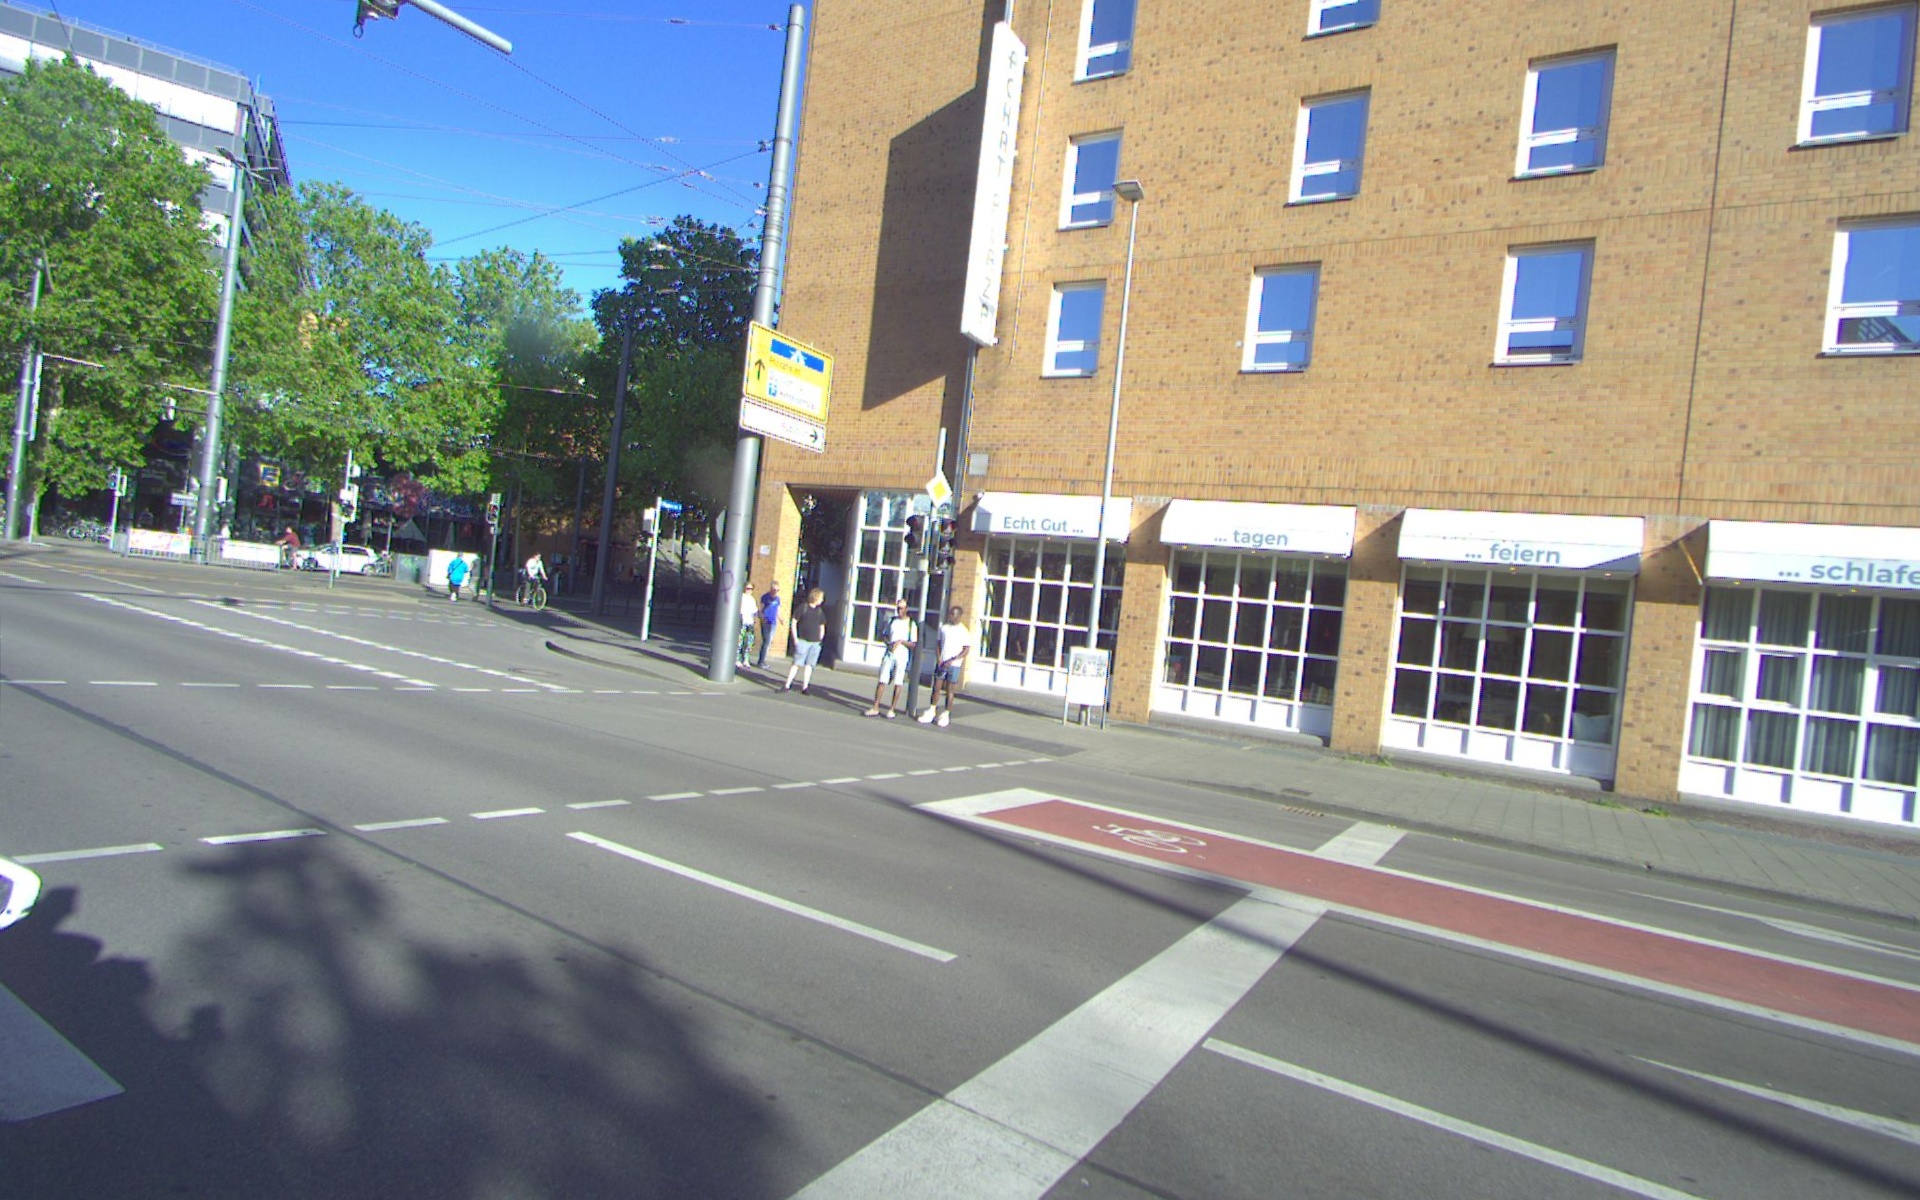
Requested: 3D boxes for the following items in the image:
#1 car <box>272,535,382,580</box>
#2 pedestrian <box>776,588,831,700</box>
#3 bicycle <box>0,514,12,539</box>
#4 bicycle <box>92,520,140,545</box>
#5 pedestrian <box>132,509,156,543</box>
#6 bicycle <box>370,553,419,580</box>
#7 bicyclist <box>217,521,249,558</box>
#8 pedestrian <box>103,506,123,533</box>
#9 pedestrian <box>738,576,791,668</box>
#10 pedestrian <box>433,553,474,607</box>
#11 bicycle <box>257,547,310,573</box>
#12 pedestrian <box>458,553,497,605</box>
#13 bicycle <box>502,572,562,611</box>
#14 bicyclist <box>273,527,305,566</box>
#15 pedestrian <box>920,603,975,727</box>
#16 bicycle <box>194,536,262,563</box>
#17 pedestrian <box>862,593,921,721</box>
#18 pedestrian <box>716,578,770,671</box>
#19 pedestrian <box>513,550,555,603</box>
[{"bbox_3d":[-30.844,-2.055,49.131,1.969,1.503,3.990,6,-3,36],"label":"car"},{"bbox_3d":[-2.641,0.731,16.940,0.683,1.789,0.573,7,0,-9],"label":"pedestrian"},{"bbox_3d":[-42.195,-3.287,43.386,0.509,1.034,1.849,6,-1,43],"label":"bicycle"},{"bbox_3d":[-41.091,-3.285,48.967,0.386,0.998,1.700,7,0,45],"label":"bicycle"},{"bbox_3d":[-48.400,-4.362,59.670,0.845,1.873,0.799,10,-3,-44],"label":"pedestrian"},{"bbox_3d":[-32.459,-1.908,57.819,0.861,1.250,2.934,7,-1,5],"label":"bicycle"},{"bbox_3d":[-41.896,-3.469,57.993,1.218,1.955,0.828,7,0,-31],"label":"bicyclist"},{"bbox_3d":[-51.868,-4.921,61.587,0.771,1.546,0.559,6,0,-34],"label":"pedestrian"},{"bbox_3d":[-3.925,0.441,20.183,0.593,1.747,0.603,6,-1,32],"label":"pedestrian"},{"bbox_3d":[-15.879,-0.621,31.521,0.729,1.557,0.677,6,-1,24],"label":"pedestrian"},{"bbox_3d":[-30.843,-1.835,45.880,0.642,0.921,1.854,7,-1,35],"label":"bicycle"},{"bbox_3d":[-15.590,-0.683,32.513,0.729,1.557,0.652,6,-1,24],"label":"pedestrian"},{"bbox_3d":[-14.153,-0.281,33.230,1.891,1.064,0.791,6,-2,32],"label":"bicycle"},{"bbox_3d":[-30.671,-2.428,45.971,0.627,1.635,0.926,7,0,35],"label":"bicyclist"},{"bbox_3d":[-0.190,0.976,15.138,0.402,1.797,0.572,4,2,-42],"label":"pedestrian"},{"bbox_3d":[-42.087,-2.891,57.879,3.019,1.127,0.828,8,-1,-32],"label":"bicycle"},{"bbox_3d":[-1.041,0.857,15.337,0.719,1.857,0.497,5,1,-3],"label":"pedestrian"},{"bbox_3d":[-4.235,0.481,19.636,0.648,1.723,0.562,6,-1,33],"label":"pedestrian"},{"bbox_3d":[-14.052,-0.758,33.212,0.824,1.612,0.771,6,-1,31],"label":"pedestrian"}]
